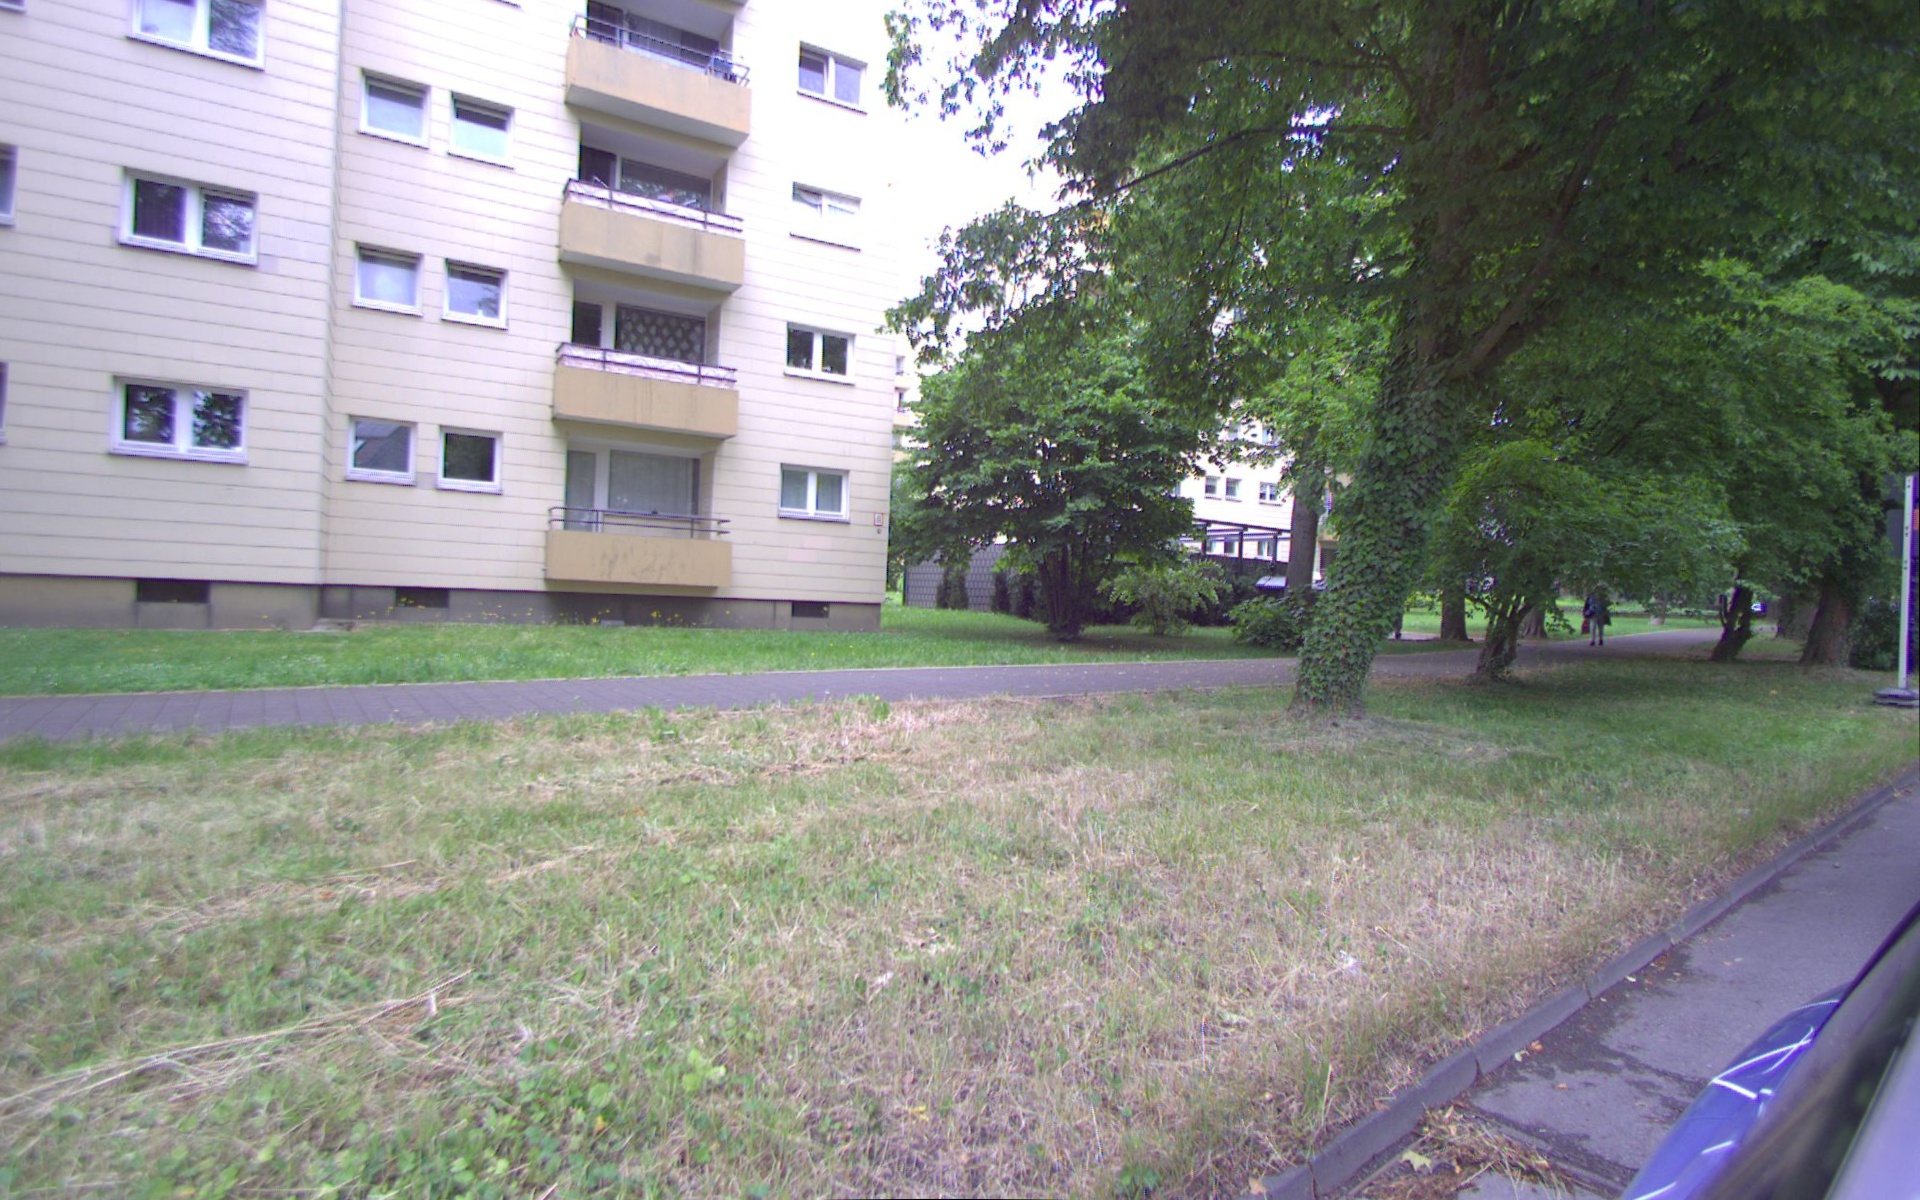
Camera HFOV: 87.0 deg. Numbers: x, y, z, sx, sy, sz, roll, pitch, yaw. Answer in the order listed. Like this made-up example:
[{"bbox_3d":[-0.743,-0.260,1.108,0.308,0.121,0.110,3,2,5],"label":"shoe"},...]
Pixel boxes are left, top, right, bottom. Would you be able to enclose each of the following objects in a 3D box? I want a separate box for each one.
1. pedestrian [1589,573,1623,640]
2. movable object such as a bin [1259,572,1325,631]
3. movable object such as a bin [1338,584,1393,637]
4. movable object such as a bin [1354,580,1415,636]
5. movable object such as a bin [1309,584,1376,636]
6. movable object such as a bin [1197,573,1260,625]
[{"bbox_3d":[17.506,0.179,27.435,0.560,1.761,0.565,1,2,-41],"label":"pedestrian"},{"bbox_3d":[8.681,0.024,26.451,1.190,1.475,1.328,3,2,41],"label":"movable object such as a bin"},{"bbox_3d":[10.558,0.262,26.353,1.022,1.320,0.946,3,2,41],"label":"movable object such as a bin"},{"bbox_3d":[11.359,0.202,27.072,1.190,1.431,1.094,3,2,41],"label":"movable object such as a bin"},{"bbox_3d":[9.670,0.240,25.579,1.190,1.236,1.328,3,2,41],"label":"movable object such as a bin"},{"bbox_3d":[7.418,-0.035,27.923,1.190,1.358,1.328,3,2,41],"label":"movable object such as a bin"}]
